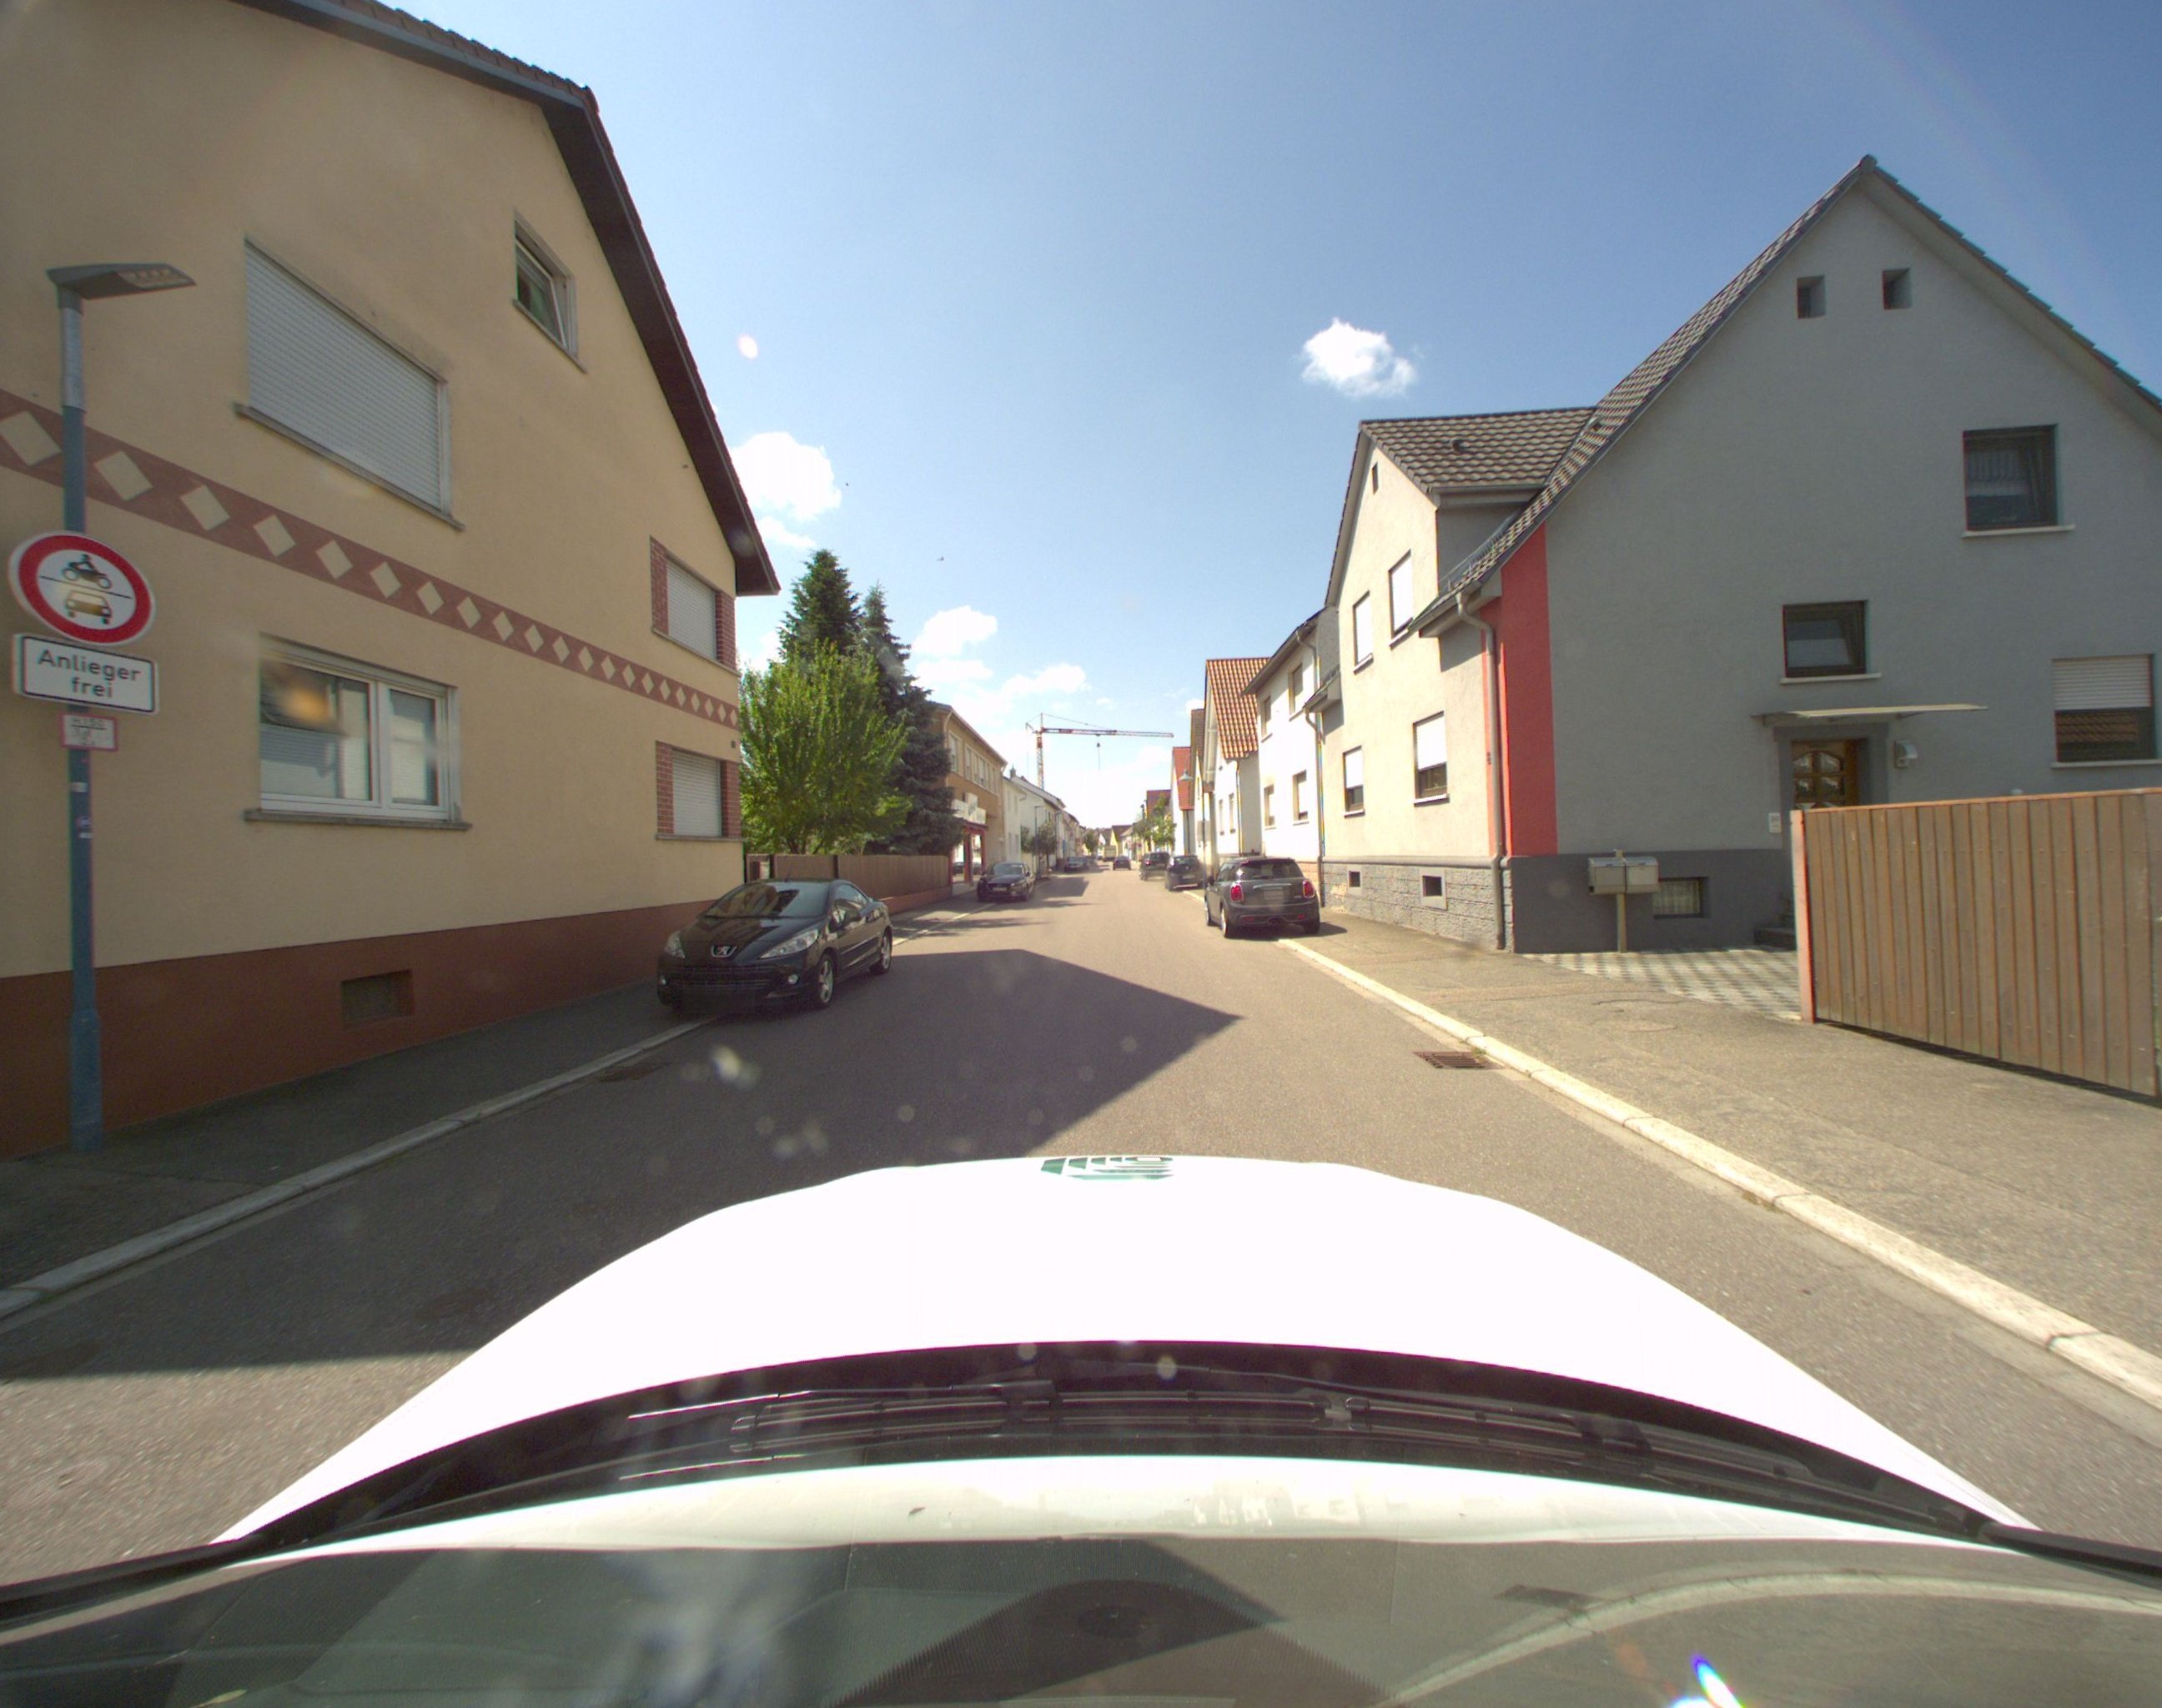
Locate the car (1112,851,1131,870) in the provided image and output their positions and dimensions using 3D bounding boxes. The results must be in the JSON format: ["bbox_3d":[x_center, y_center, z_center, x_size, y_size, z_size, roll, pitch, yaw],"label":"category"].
[{"bbox_3d":[4.122,0.664,83.188,1.776,1.753,4.001,-3,-1,1],"label":"car"}]

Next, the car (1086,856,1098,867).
[{"bbox_3d":[1.733,1.153,126.151,1.716,1.555,4.175,-1,0,3],"label":"car"}]

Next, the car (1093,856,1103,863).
[{"bbox_3d":[5.100,1.679,242.760,1.824,1.753,4.208,-3,-1,-14],"label":"car"}]

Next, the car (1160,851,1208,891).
[{"bbox_3d":[4.433,0.709,35.504,1.611,1.495,3.973,-5,0,2],"label":"car"}]

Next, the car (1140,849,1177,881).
[{"bbox_3d":[4.524,0.641,48.187,1.723,1.717,4.275,-2,0,0],"label":"car"}]

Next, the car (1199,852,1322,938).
[{"bbox_3d":[3.369,0.719,15.924,1.682,1.422,3.658,-2,0,2],"label":"car"}]

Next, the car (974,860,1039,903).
[{"bbox_3d":[-2.747,0.986,30.981,1.760,1.460,4.441,-2,0,4],"label":"car"}]

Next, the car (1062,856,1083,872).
[{"bbox_3d":[-0.813,0.960,80.255,1.752,1.525,4.290,-2,0,2],"label":"car"}]

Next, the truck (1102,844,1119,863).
[{"bbox_3d":[6.411,-0.133,179.330,3.367,3.865,13.926,-3,-1,1],"label":"truck"}]

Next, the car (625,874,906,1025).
[{"bbox_3d":[-3.545,0.986,10.052,1.755,1.374,4.068,-1,0,2],"label":"car"}]

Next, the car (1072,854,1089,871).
[{"bbox_3d":[-0.043,0.893,86.919,1.647,1.609,4.062,-2,0,2],"label":"car"}]
